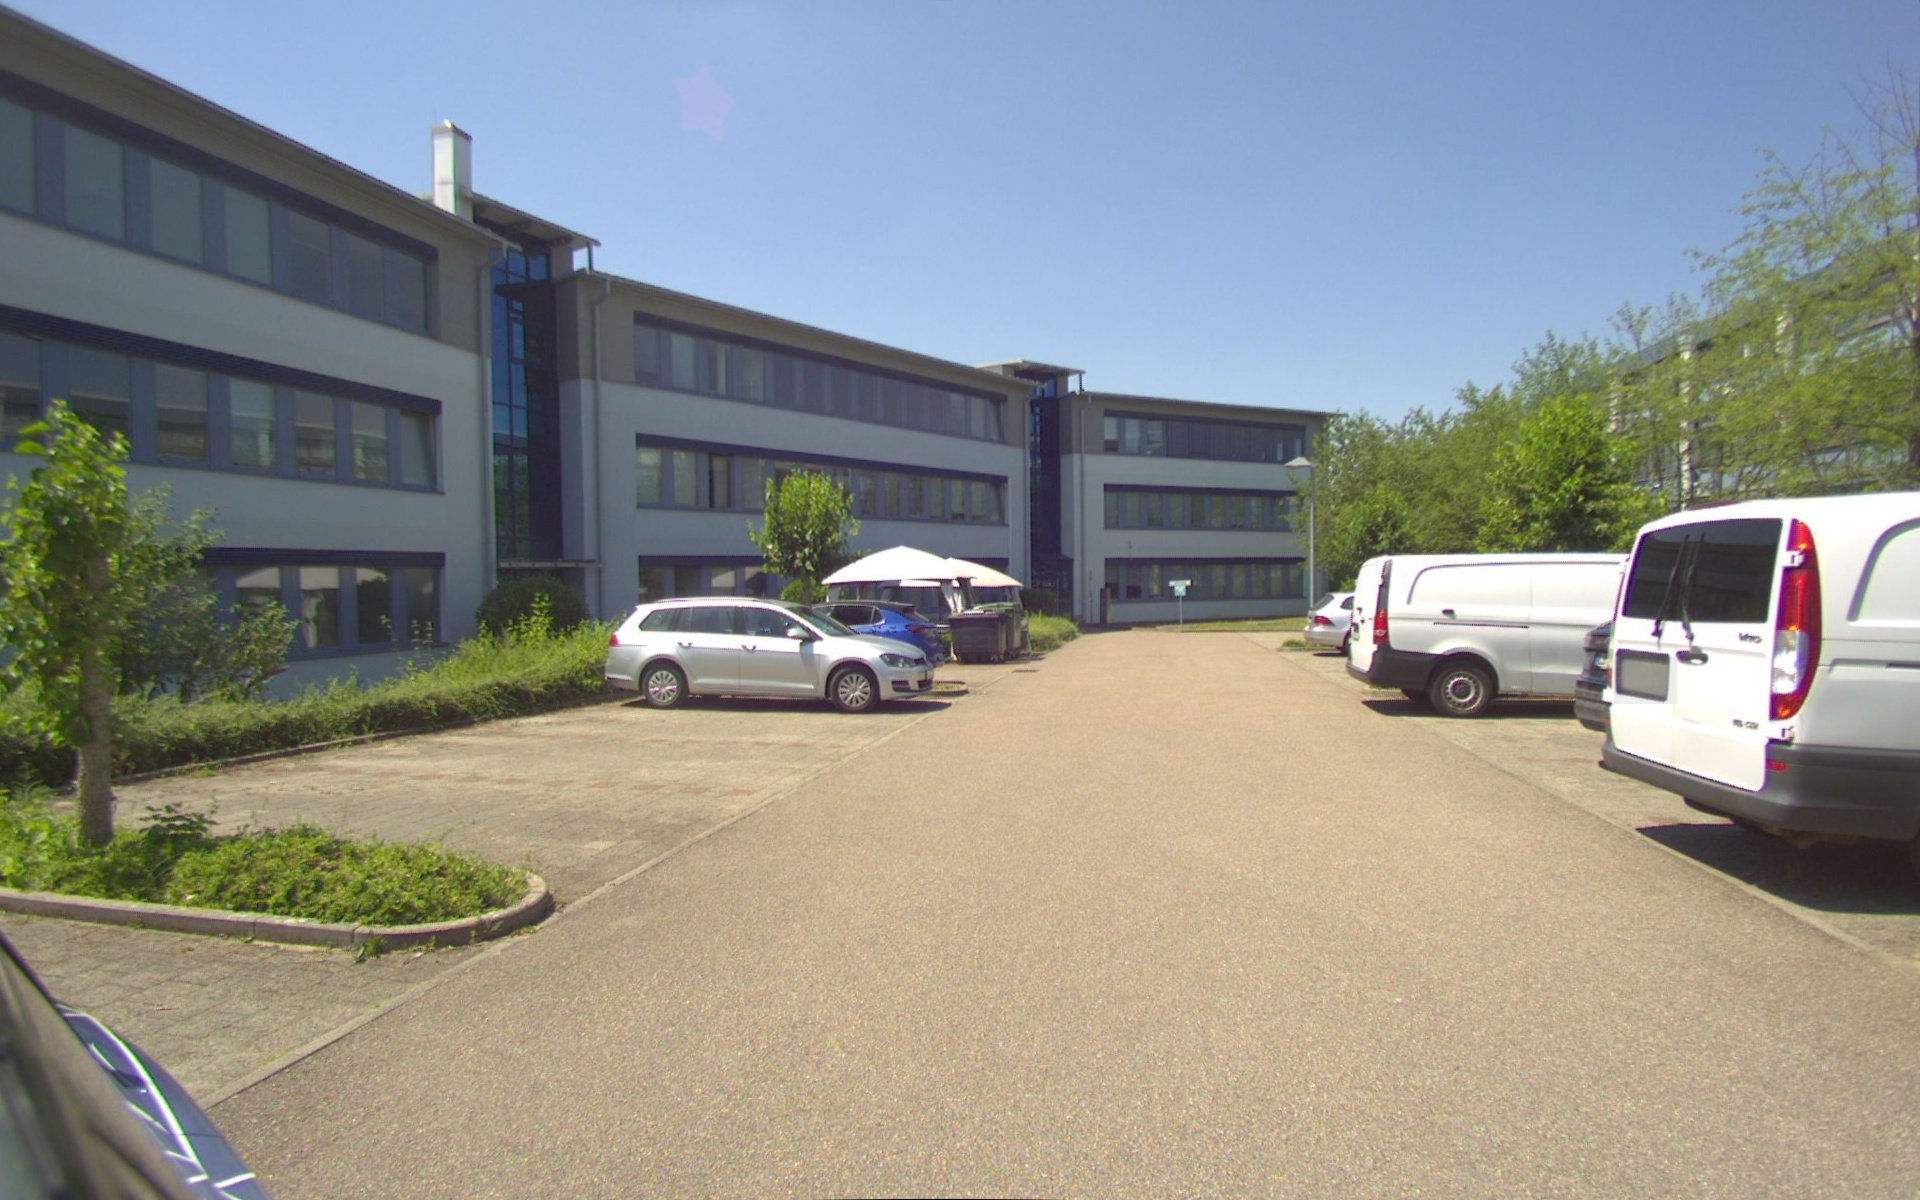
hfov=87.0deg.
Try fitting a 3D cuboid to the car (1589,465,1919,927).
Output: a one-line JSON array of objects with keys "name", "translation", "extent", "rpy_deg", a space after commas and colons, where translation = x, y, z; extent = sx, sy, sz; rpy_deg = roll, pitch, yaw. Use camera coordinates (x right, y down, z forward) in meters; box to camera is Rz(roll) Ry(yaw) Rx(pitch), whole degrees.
[{"name": "car", "translation": [6.038, 0.370, 4.803], "extent": [4.755, 1.919, 1.913], "rpy_deg": [-1, 0, 10]}]

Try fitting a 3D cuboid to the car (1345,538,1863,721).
[{"name": "car", "translation": [7.240, 0.328, 11.960], "extent": [4.755, 1.905, 1.880], "rpy_deg": [-1, 0, 13]}]

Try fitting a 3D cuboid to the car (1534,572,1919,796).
[{"name": "car", "translation": [6.846, 0.549, 7.650], "extent": [3.946, 1.487, 1.759], "rpy_deg": [-1, 0, 2]}]

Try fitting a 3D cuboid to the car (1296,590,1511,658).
[{"name": "car", "translation": [9.828, 0.516, 22.750], "extent": [4.130, 1.417, 1.865], "rpy_deg": [0, 0, 14]}]

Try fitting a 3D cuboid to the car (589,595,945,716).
[{"name": "car", "translation": [-2.559, 0.694, 13.873], "extent": [4.435, 1.483, 1.857], "rpy_deg": [0, 0, 11]}]

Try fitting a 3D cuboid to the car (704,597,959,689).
[{"name": "car", "translation": [-2.189, 0.736, 17.701], "extent": [3.961, 1.473, 1.991], "rpy_deg": [-1, 0, 14]}]
